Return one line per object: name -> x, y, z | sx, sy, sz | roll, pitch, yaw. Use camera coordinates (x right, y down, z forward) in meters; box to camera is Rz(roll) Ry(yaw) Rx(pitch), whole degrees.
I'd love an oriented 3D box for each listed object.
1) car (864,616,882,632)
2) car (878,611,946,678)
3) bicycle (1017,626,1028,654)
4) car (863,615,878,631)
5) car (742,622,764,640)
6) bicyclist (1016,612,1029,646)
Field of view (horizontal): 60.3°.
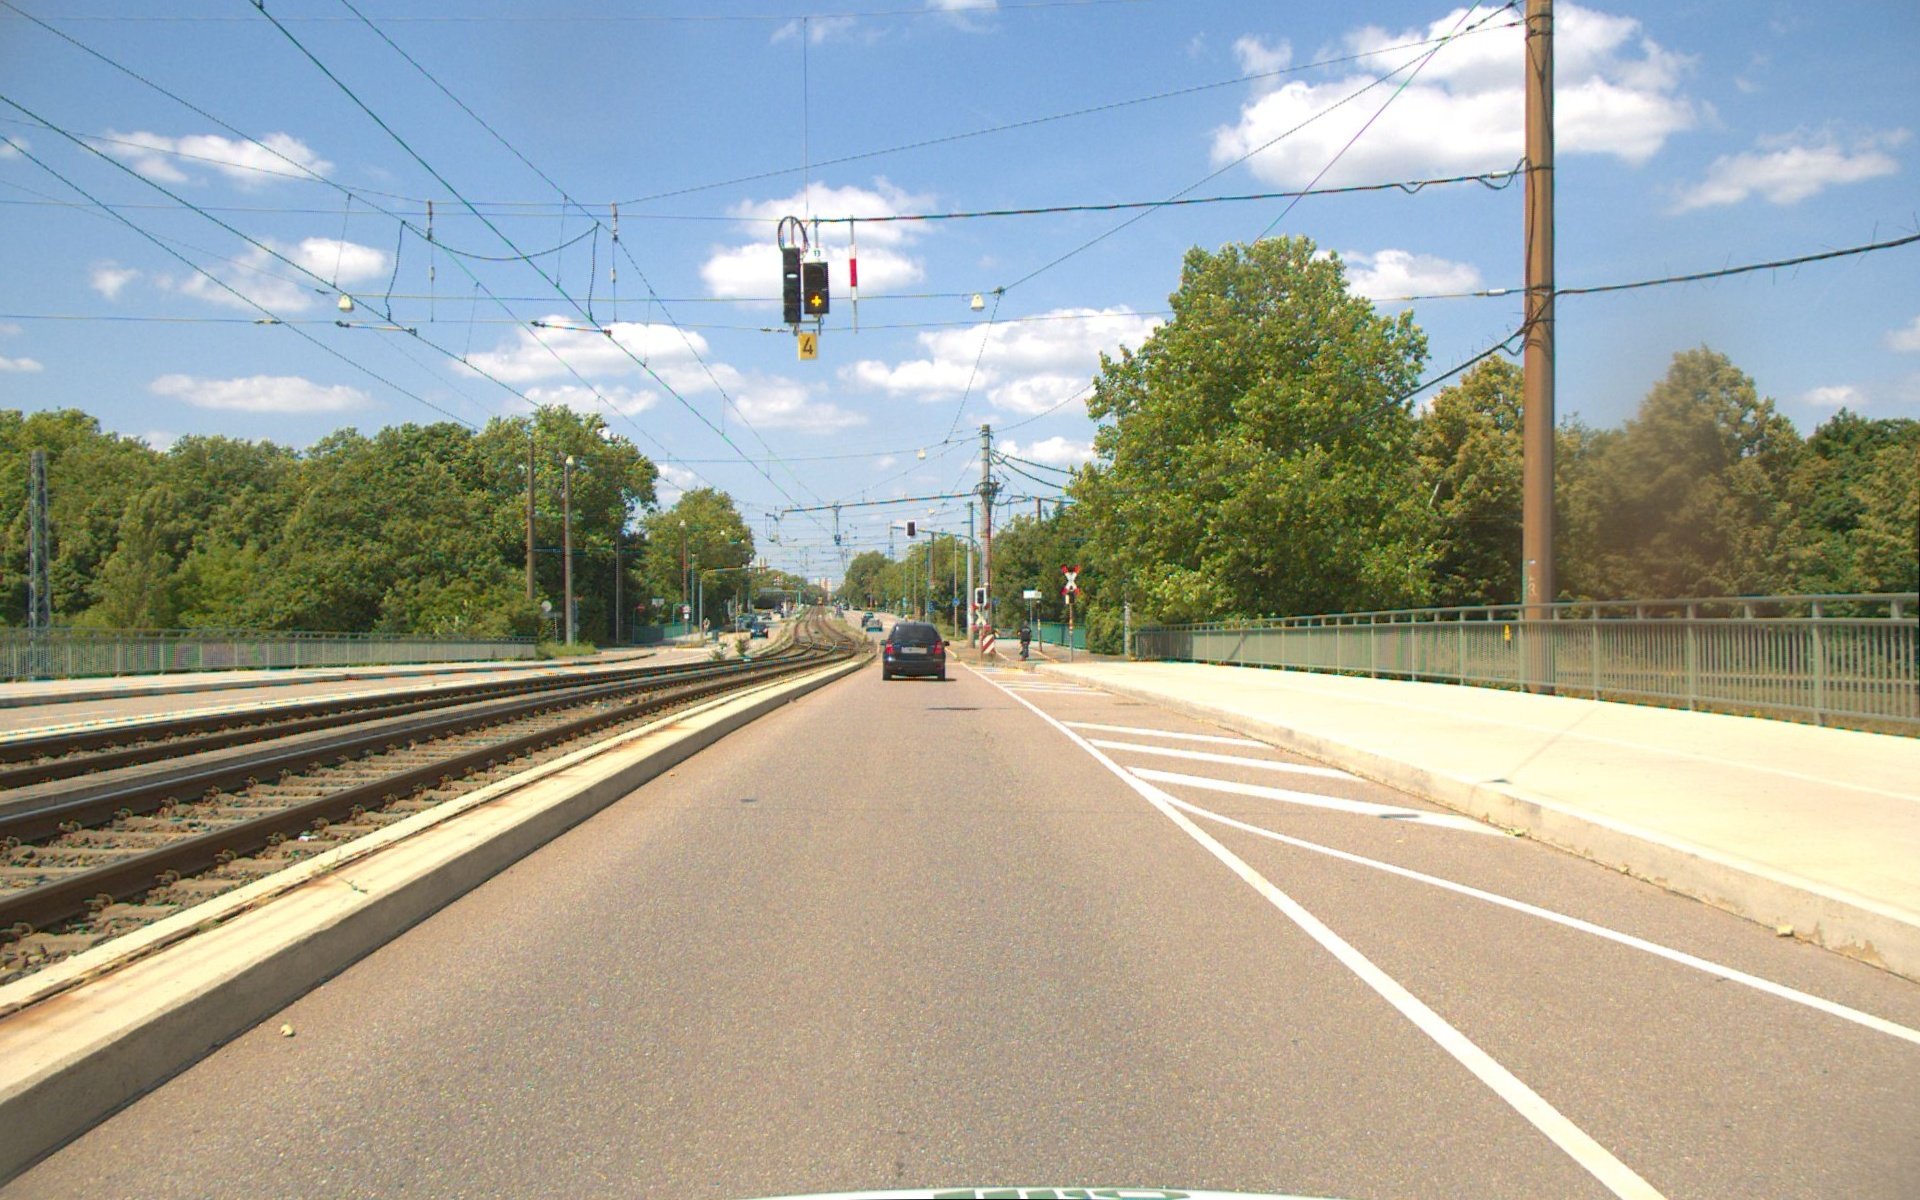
car -> -10.073, 2.735, 192.607 | 1.847, 1.668, 3.999 | 3, 1, -1
car -> -1.344, 1.204, 46.441 | 1.815, 1.597, 4.387 | 1, 2, -2
bicycle -> 2.861, 1.812, 75.528 | 0.423, 1.172, 1.855 | 1, 1, 0
car -> -12.192, 3.076, 225.297 | 1.953, 2.048, 3.999 | 1, 1, -2
car -> -19.197, 2.854, 153.522 | 1.670, 1.536, 3.732 | -1, 0, -1
bicyclist -> 2.857, 1.311, 75.478 | 0.573, 1.521, 0.558 | 1, 1, 0
